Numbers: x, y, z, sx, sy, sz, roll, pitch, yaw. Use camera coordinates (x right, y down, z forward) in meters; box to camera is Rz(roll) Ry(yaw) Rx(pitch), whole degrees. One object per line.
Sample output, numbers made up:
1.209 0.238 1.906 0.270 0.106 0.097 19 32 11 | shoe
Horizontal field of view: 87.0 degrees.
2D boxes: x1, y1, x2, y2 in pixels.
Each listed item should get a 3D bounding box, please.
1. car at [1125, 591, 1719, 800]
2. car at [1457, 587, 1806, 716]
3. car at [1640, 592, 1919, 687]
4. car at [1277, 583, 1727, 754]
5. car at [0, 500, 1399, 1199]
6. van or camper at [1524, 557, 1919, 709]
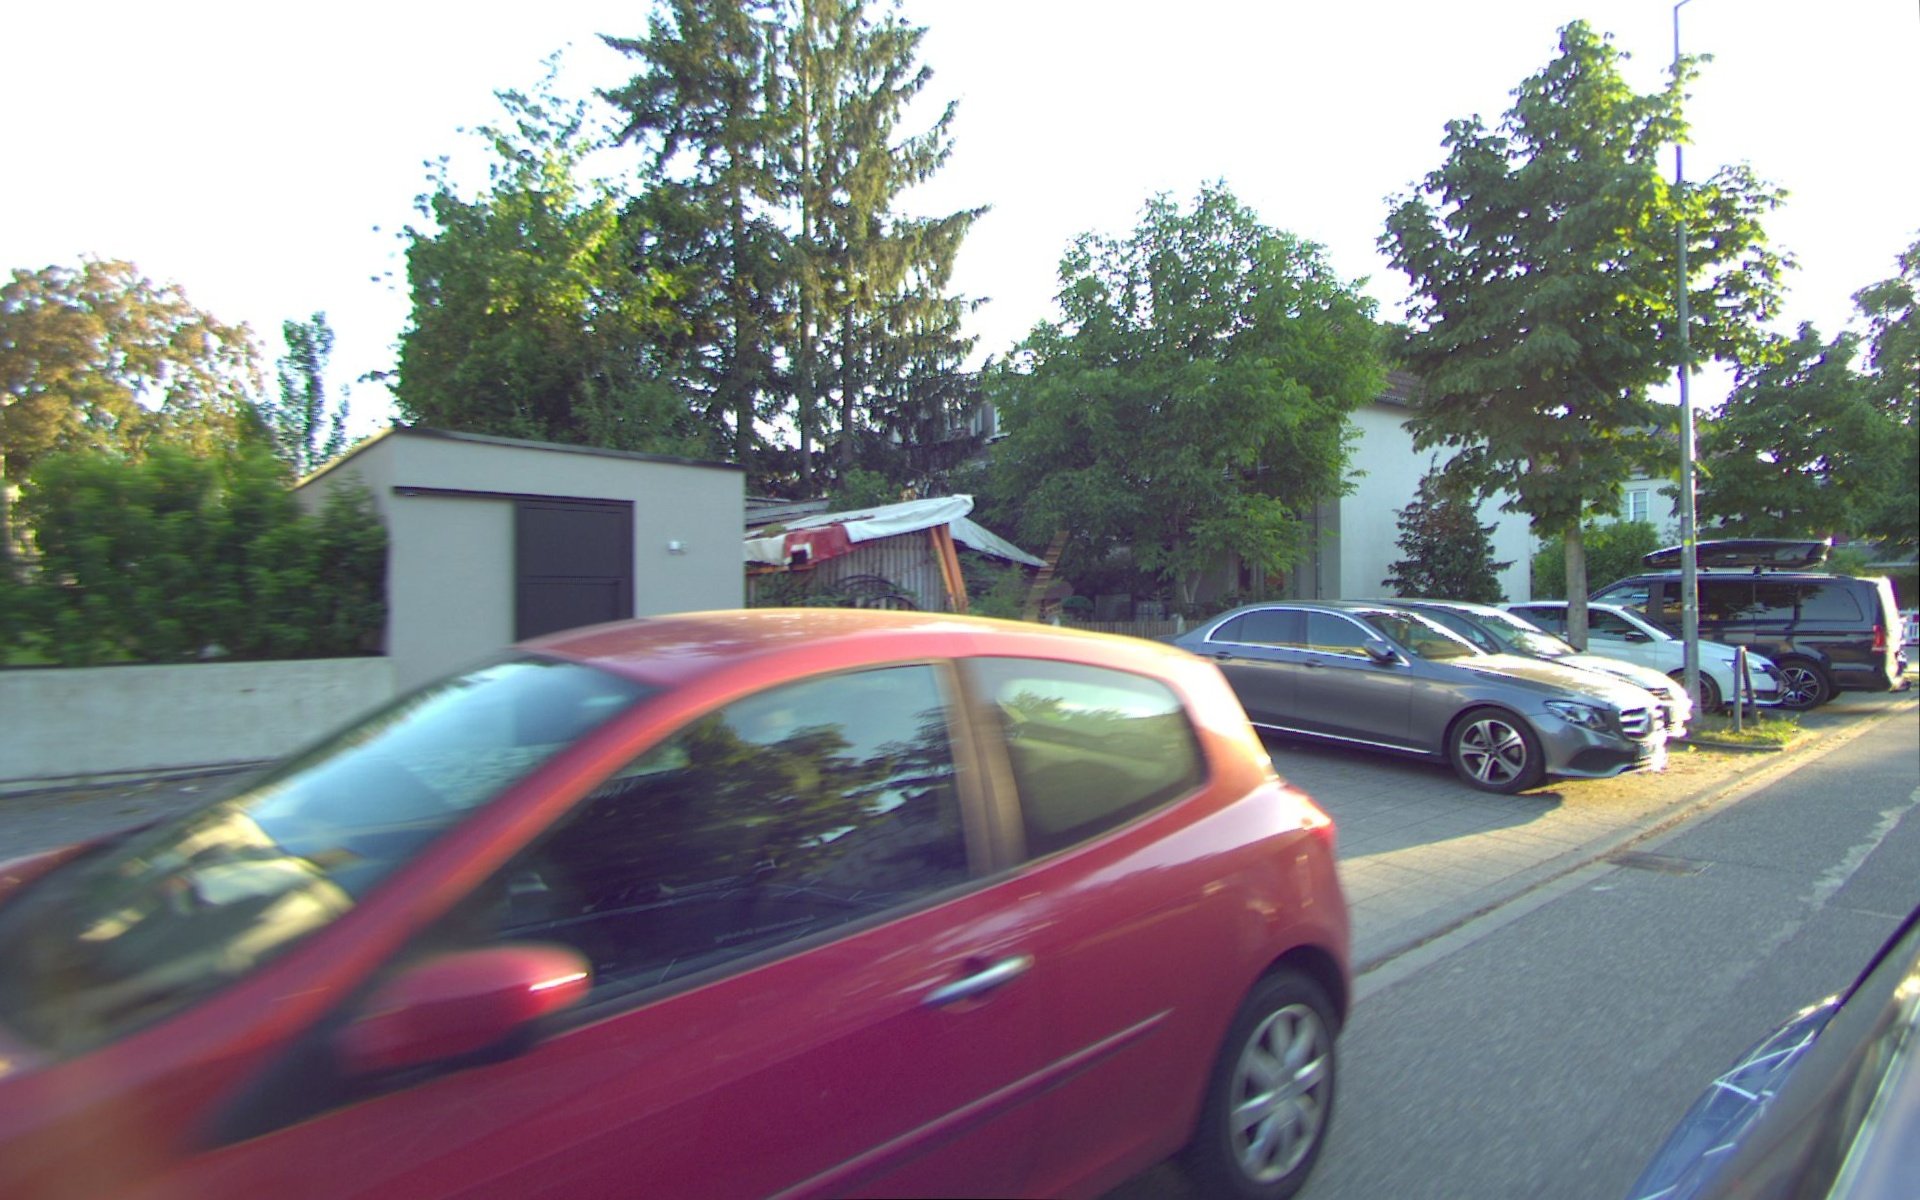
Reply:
3.966 0.651 9.526 1.738 1.415 4.829 0 1 -39 | car
9.341 0.631 14.319 1.600 1.563 3.838 0 0 -41 | car
15.388 0.660 19.015 1.761 1.580 3.995 -1 0 -40 | car
5.786 0.585 11.258 1.737 1.520 4.067 0 1 -37 | car
-0.735 0.637 2.345 3.692 1.488 1.744 -1 0 -40 | car
11.600 0.436 15.633 2.059 1.978 4.652 0 0 -43 | van or camper
